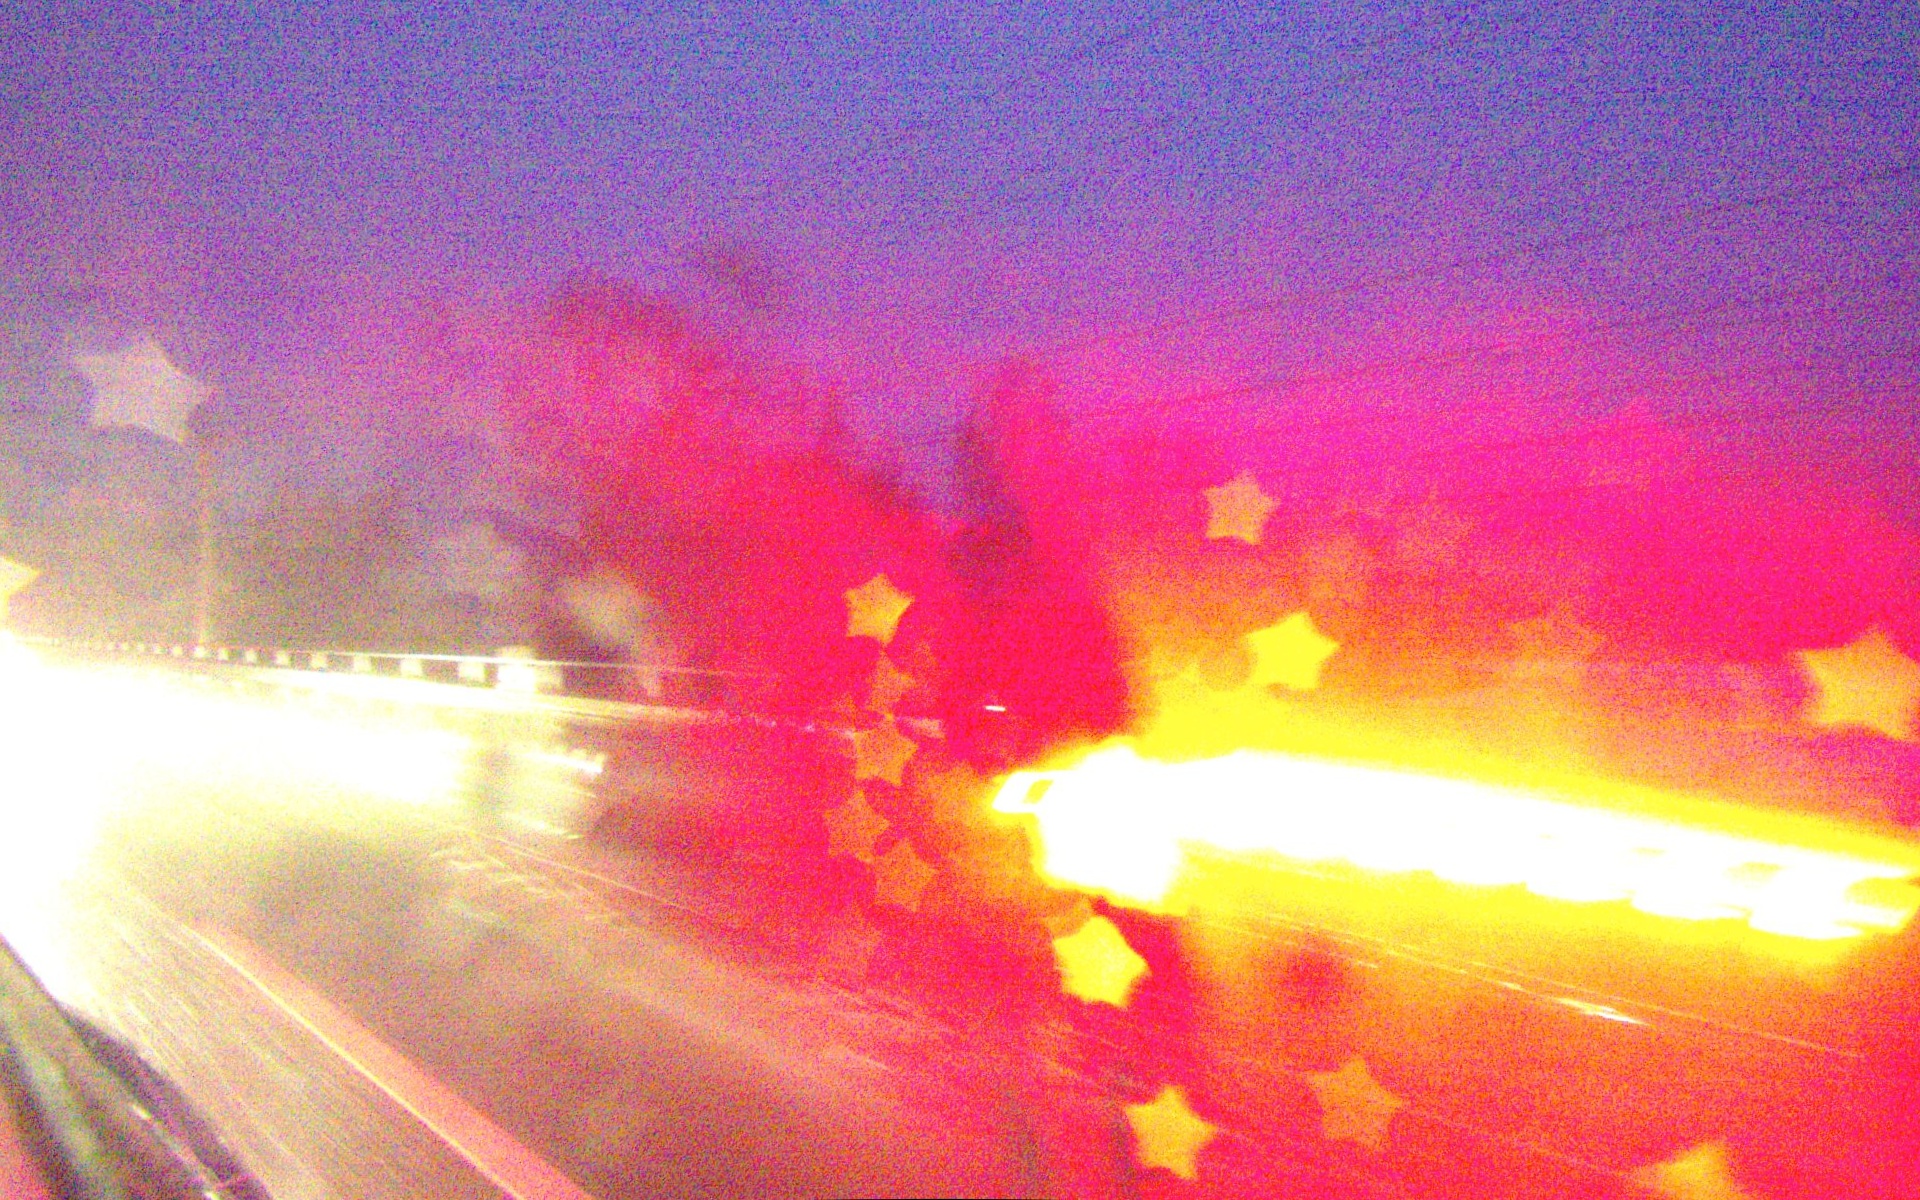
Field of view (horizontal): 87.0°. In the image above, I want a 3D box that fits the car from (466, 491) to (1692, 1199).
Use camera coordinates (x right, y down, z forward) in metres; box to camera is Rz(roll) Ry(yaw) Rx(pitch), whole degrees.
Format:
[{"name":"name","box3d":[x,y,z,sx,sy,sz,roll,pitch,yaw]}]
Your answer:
[{"name":"car","box3d":[0.004,0.714,3.882,4.403,1.640,1.786,-2,-4,41]}]
